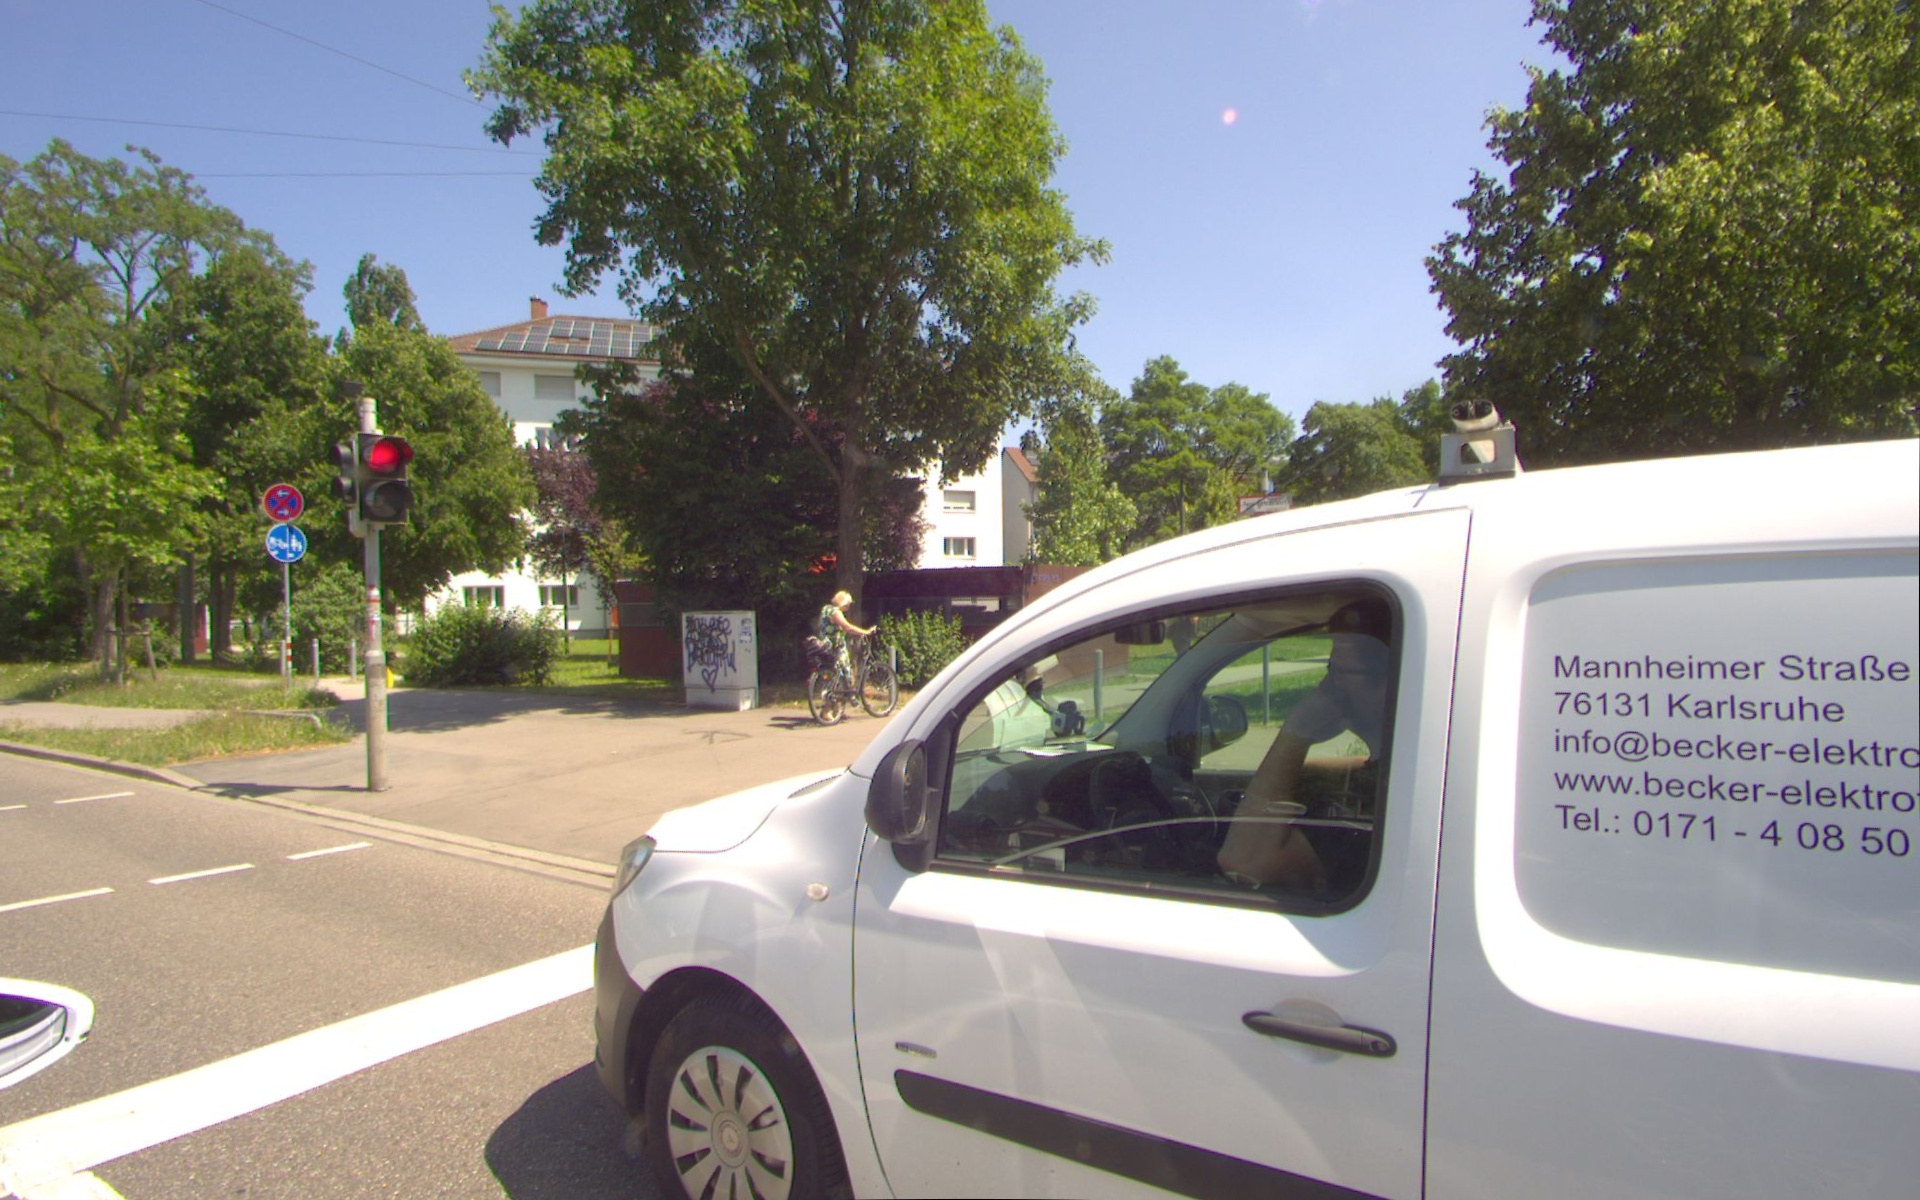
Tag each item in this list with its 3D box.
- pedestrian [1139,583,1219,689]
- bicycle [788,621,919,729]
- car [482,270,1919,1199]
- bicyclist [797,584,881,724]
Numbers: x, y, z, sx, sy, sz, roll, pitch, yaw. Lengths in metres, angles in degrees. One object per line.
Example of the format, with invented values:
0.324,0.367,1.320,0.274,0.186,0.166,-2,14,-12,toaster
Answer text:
3.932,0.622,17.942,1.176,1.801,0.832,-3,1,-43,pedestrian
-1.284,0.883,12.524,0.533,1.177,1.953,0,1,32,bicycle
1.120,0.567,2.299,4.384,1.850,1.990,-1,0,32,car
-1.521,0.653,12.685,0.572,1.689,0.955,0,2,32,bicyclist
